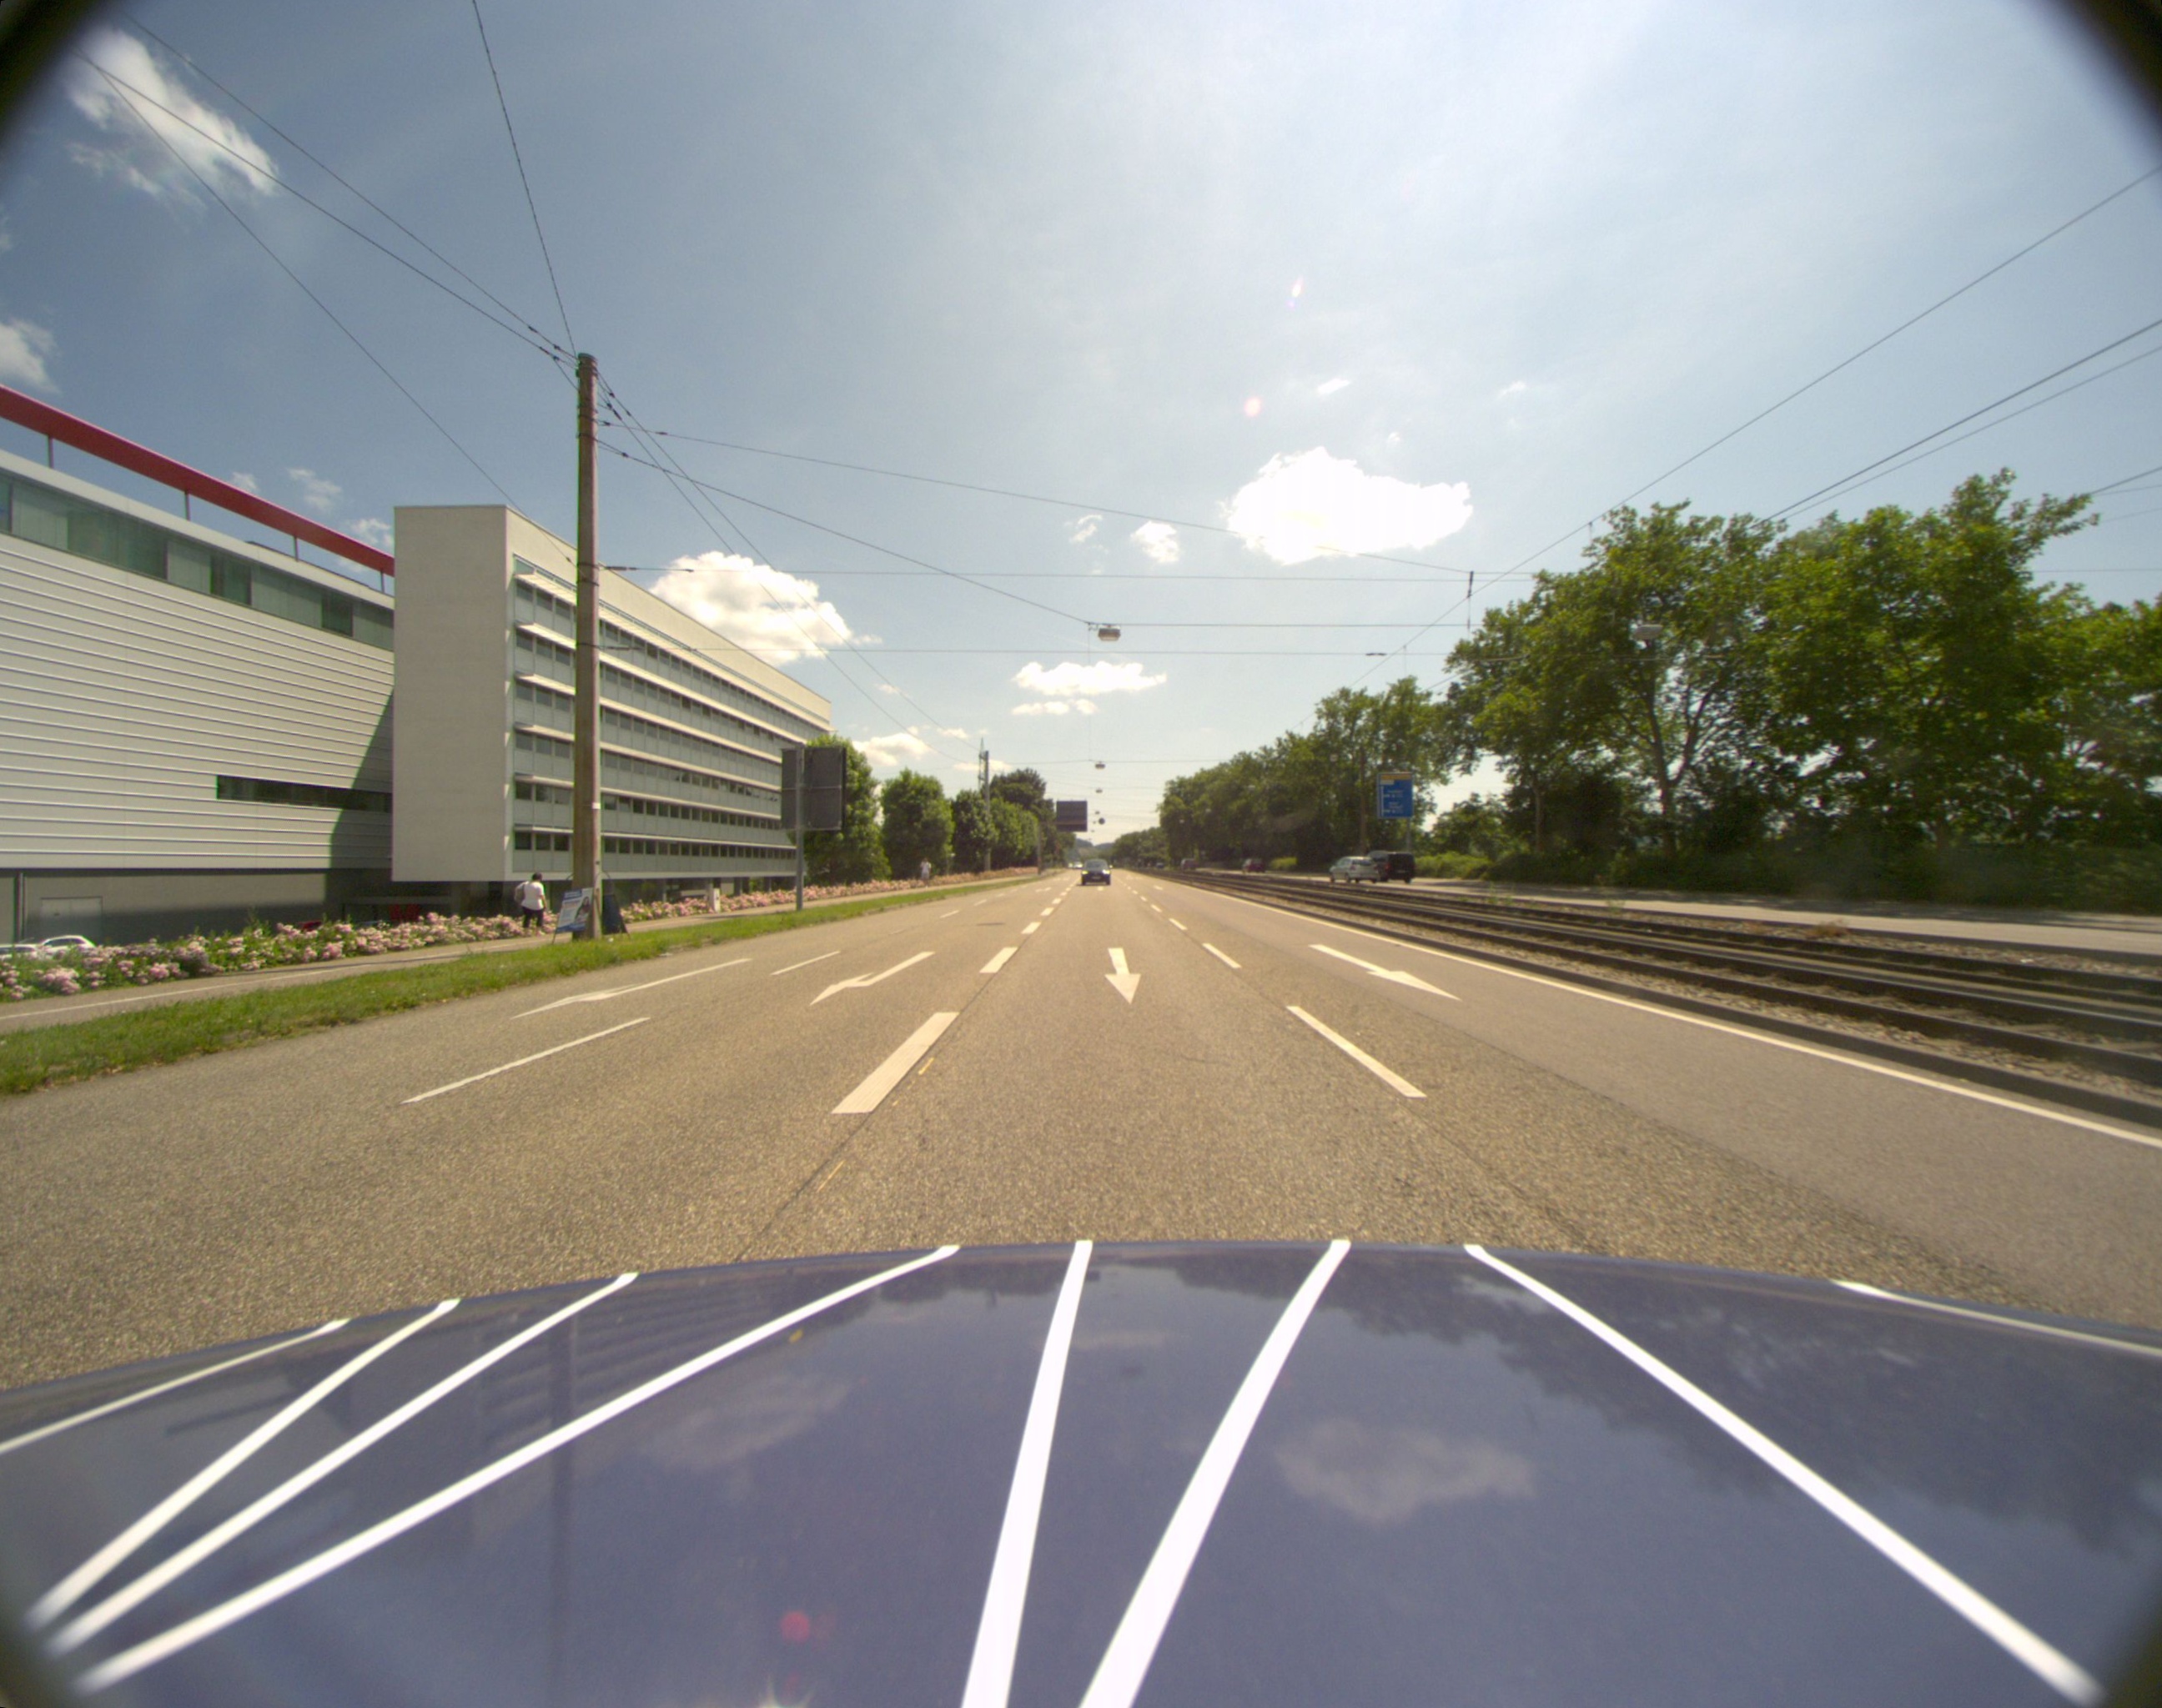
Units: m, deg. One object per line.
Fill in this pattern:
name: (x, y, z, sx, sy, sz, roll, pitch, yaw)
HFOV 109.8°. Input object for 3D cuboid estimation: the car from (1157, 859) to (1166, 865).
car: (19.525, 1.943, 184.344, 1.803, 1.495, 4.735, 1, 0, -1)

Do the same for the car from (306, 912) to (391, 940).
car: (-48.211, 4.702, 50.125, 1.648, 1.377, 4.000, -2, 0, 1)

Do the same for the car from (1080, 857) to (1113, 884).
car: (0.959, 0.978, 47.427, 1.898, 1.564, 4.511, -1, 0, 1)

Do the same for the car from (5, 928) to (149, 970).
car: (-51.101, 4.783, 38.823, 1.998, 1.602, 4.000, -2, 0, 1)

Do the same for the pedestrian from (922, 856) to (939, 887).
pedestrian: (-9.217, 1.052, 46.457, 0.758, 1.838, 0.931, -2, 0, 3)

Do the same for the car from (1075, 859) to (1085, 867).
car: (-0.191, 1.734, 147.118, 1.896, 1.331, 4.000, -2, 0, 1)

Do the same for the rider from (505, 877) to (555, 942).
rider: (-12.827, 1.273, 17.701, 0.671, 1.449, 0.618, -2, 1, 1)

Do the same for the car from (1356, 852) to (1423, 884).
car: (18.735, 0.801, 46.436, 1.999, 1.820, 4.969, 1, 0, -1)

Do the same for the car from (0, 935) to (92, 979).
car: (-48.598, 4.713, 33.955, 1.998, 1.602, 5.146, -2, 0, 1)

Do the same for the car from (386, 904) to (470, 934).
car: (-43.100, 4.250, 50.286, 1.998, 1.602, 4.000, -2, 0, 1)

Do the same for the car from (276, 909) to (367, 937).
car: (-50.583, 4.589, 50.718, 1.998, 1.438, 4.000, -2, 0, 1)

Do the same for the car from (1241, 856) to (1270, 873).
car: (18.585, 1.112, 81.026, 1.999, 1.660, 4.468, 1, 0, -1)

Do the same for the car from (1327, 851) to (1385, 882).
car: (15.255, 0.671, 42.431, 1.690, 1.574, 4.058, 2, 0, -1)

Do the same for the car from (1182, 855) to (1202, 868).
car: (16.357, 1.137, 112.141, 1.999, 1.820, 4.969, 1, 0, -1)

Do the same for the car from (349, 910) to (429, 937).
car: (-45.667, 4.558, 50.257, 1.609, 1.314, 4.000, -2, 0, 1)
